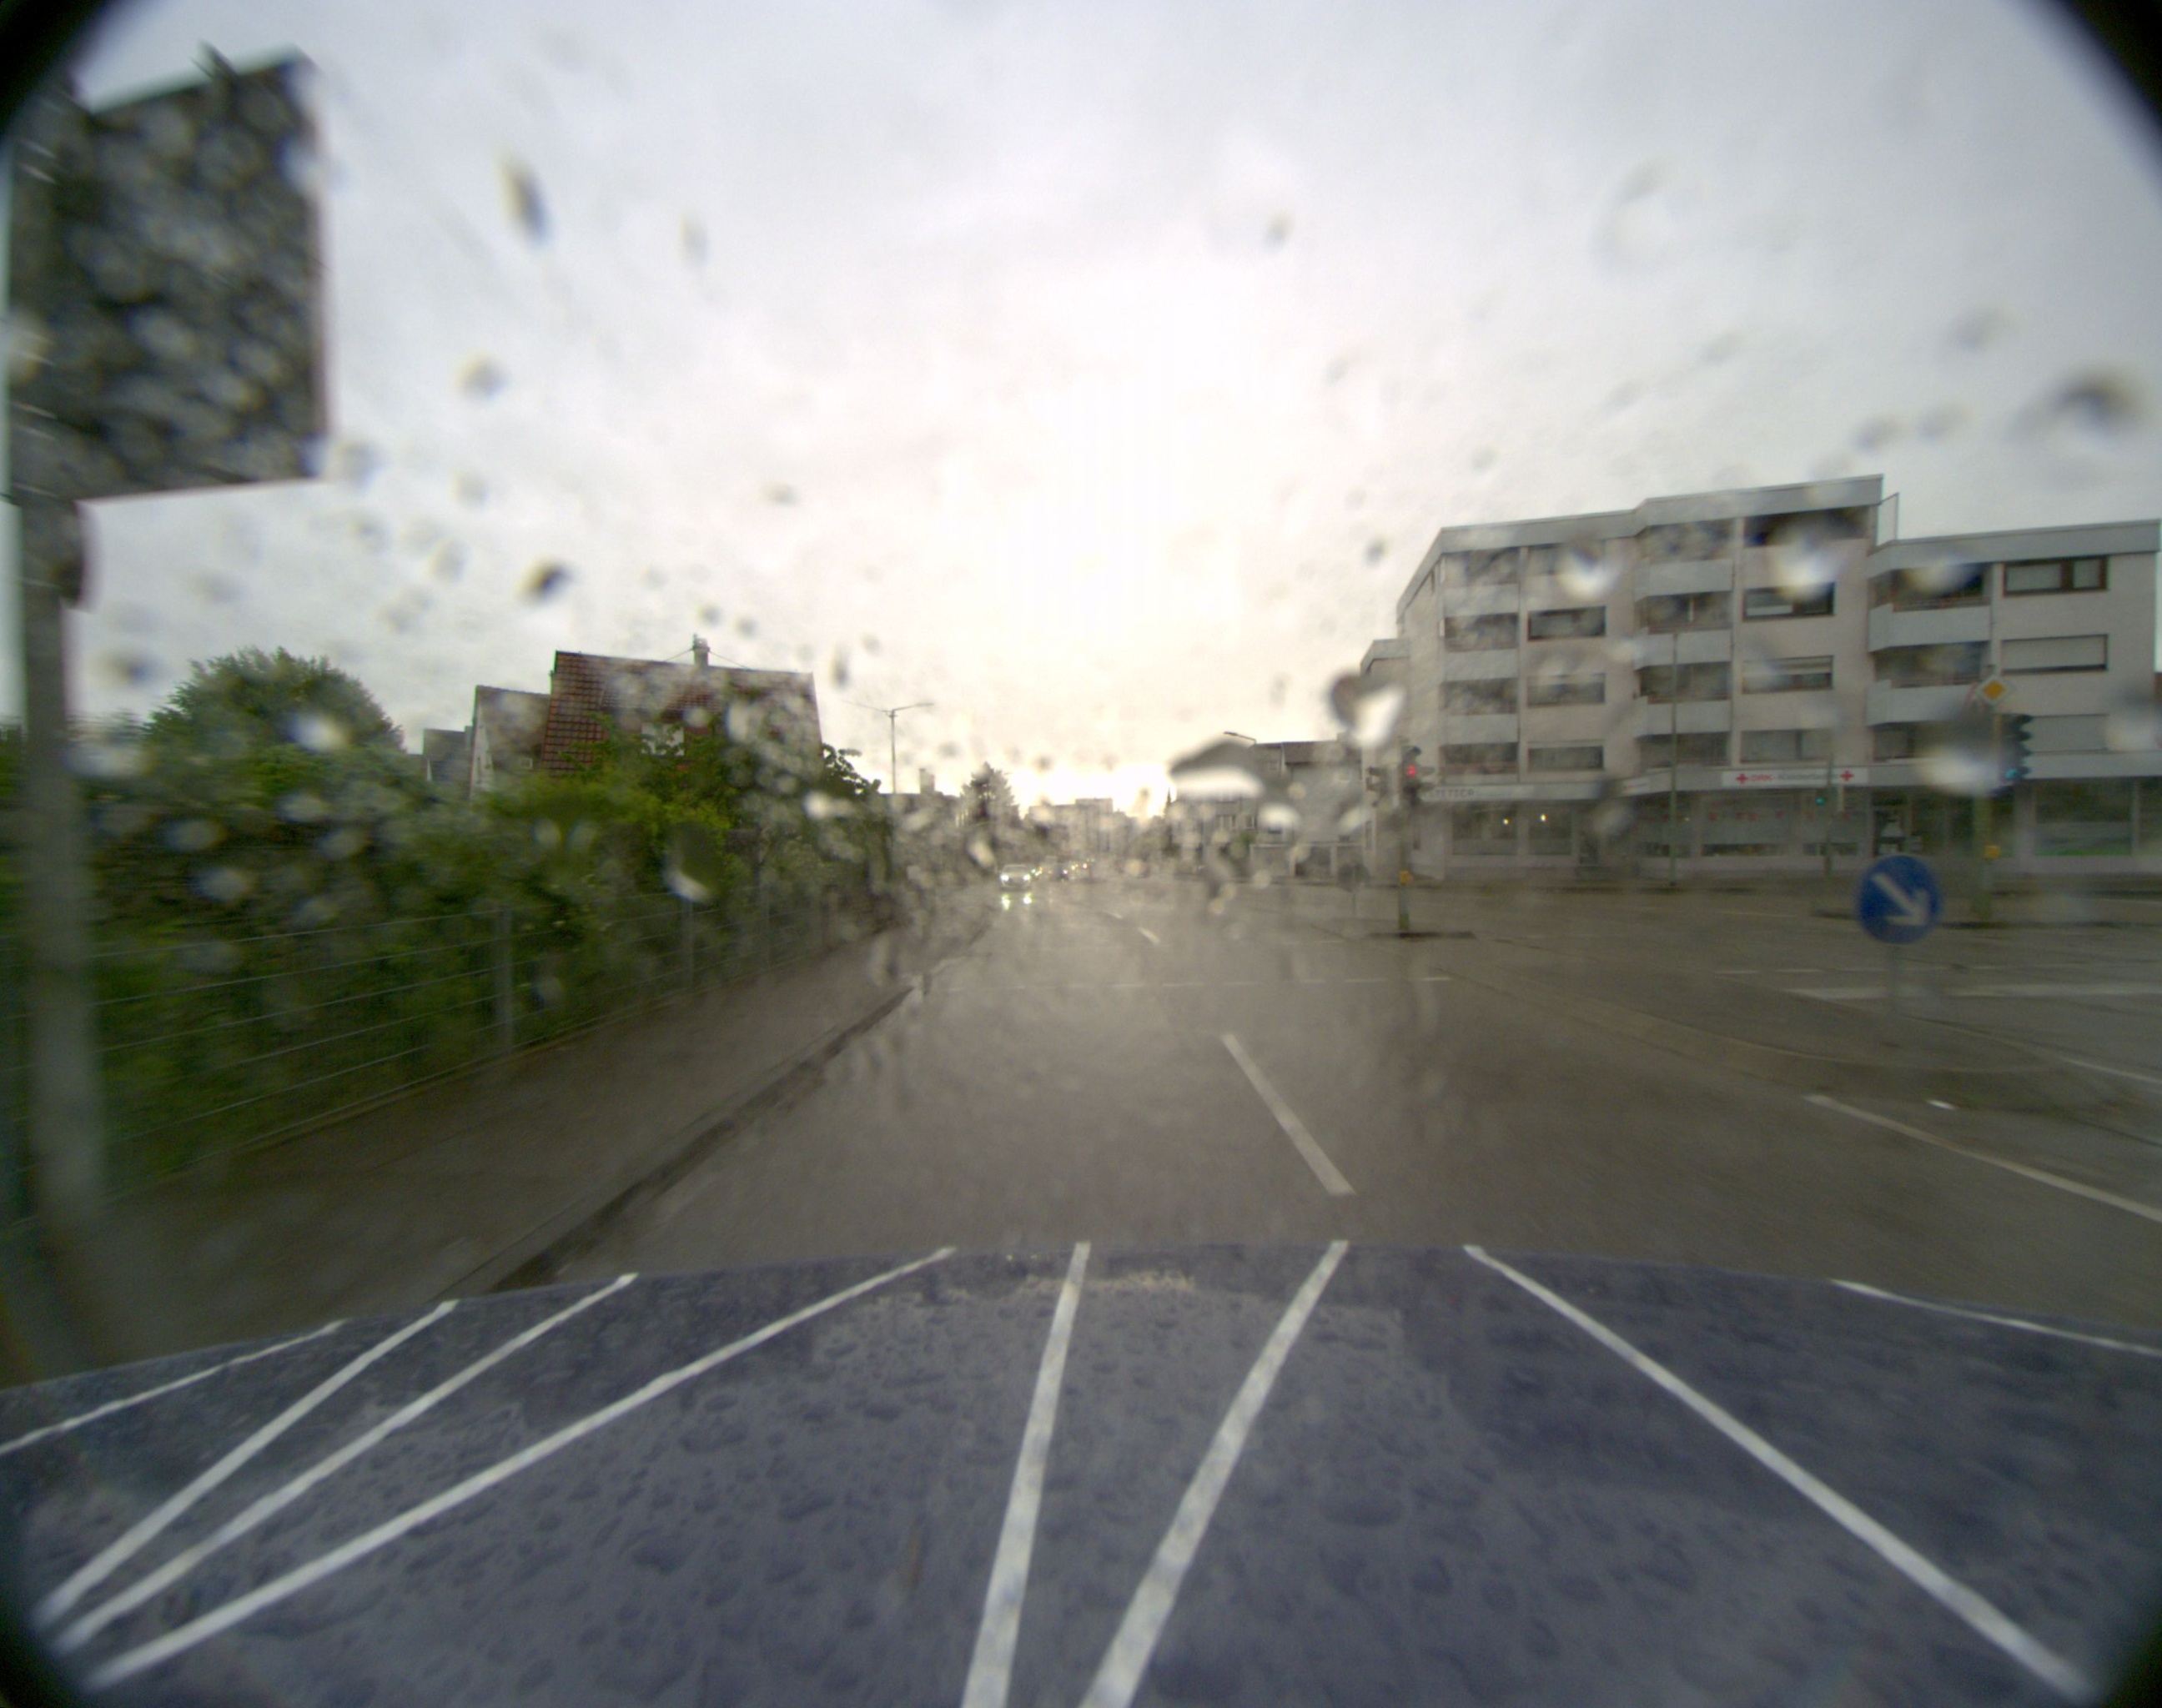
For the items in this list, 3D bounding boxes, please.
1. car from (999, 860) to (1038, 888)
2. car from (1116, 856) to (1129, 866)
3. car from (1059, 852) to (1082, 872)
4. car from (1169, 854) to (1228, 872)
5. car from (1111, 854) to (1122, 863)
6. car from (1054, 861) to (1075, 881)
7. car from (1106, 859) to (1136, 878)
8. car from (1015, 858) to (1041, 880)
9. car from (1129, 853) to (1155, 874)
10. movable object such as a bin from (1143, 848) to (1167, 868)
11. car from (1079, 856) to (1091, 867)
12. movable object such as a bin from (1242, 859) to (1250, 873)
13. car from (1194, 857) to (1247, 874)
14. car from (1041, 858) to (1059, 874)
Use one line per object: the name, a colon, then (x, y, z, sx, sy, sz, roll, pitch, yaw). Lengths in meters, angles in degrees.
car: (-3.517, 1.130, 43.477, 1.829, 1.431, 4.344, -2, 0, -1)
car: (6.435, 1.120, 117.268, 1.792, 1.463, 4.164, -1, 0, 1)
car: (-1.120, 0.855, 81.854, 1.998, 2.002, 4.002, -1, 0, 5)
car: (11.570, 0.900, 74.812, 5.470, 1.674, 2.150, -1, 0, 14)
car: (7.026, 0.863, 150.837, 2.101, 1.822, 4.735, -1, 0, 4)
car: (-1.349, 1.425, 64.443, 1.651, 1.547, 3.351, -1, 0, 1)
car: (4.756, 1.773, 91.318, 2.097, 2.001, 5.975, -7, -1, -10)
car: (-4.684, 1.345, 67.692, 1.999, 1.849, 4.000, 1, 0, -1)
car: (5.861, 0.899, 73.261, 1.999, 2.002, 4.651, -1, 0, -1)
movable object such as a bin: (10.742, 0.610, 110.102, 2.922, 2.825, 2.200, -1, 0, 17)
car: (0.685, 1.357, 136.808, 1.999, 1.849, 4.000, 1, 0, -1)
movable object such as a bin: (11.703, 0.833, 53.806, 0.500, 0.955, 0.602, -1, 0, 12)
car: (12.799, 1.031, 70.076, 4.621, 1.487, 1.930, -1, 0, 5)
car: (-3.617, 1.360, 88.811, 1.999, 1.849, 4.000, 1, 0, -1)
